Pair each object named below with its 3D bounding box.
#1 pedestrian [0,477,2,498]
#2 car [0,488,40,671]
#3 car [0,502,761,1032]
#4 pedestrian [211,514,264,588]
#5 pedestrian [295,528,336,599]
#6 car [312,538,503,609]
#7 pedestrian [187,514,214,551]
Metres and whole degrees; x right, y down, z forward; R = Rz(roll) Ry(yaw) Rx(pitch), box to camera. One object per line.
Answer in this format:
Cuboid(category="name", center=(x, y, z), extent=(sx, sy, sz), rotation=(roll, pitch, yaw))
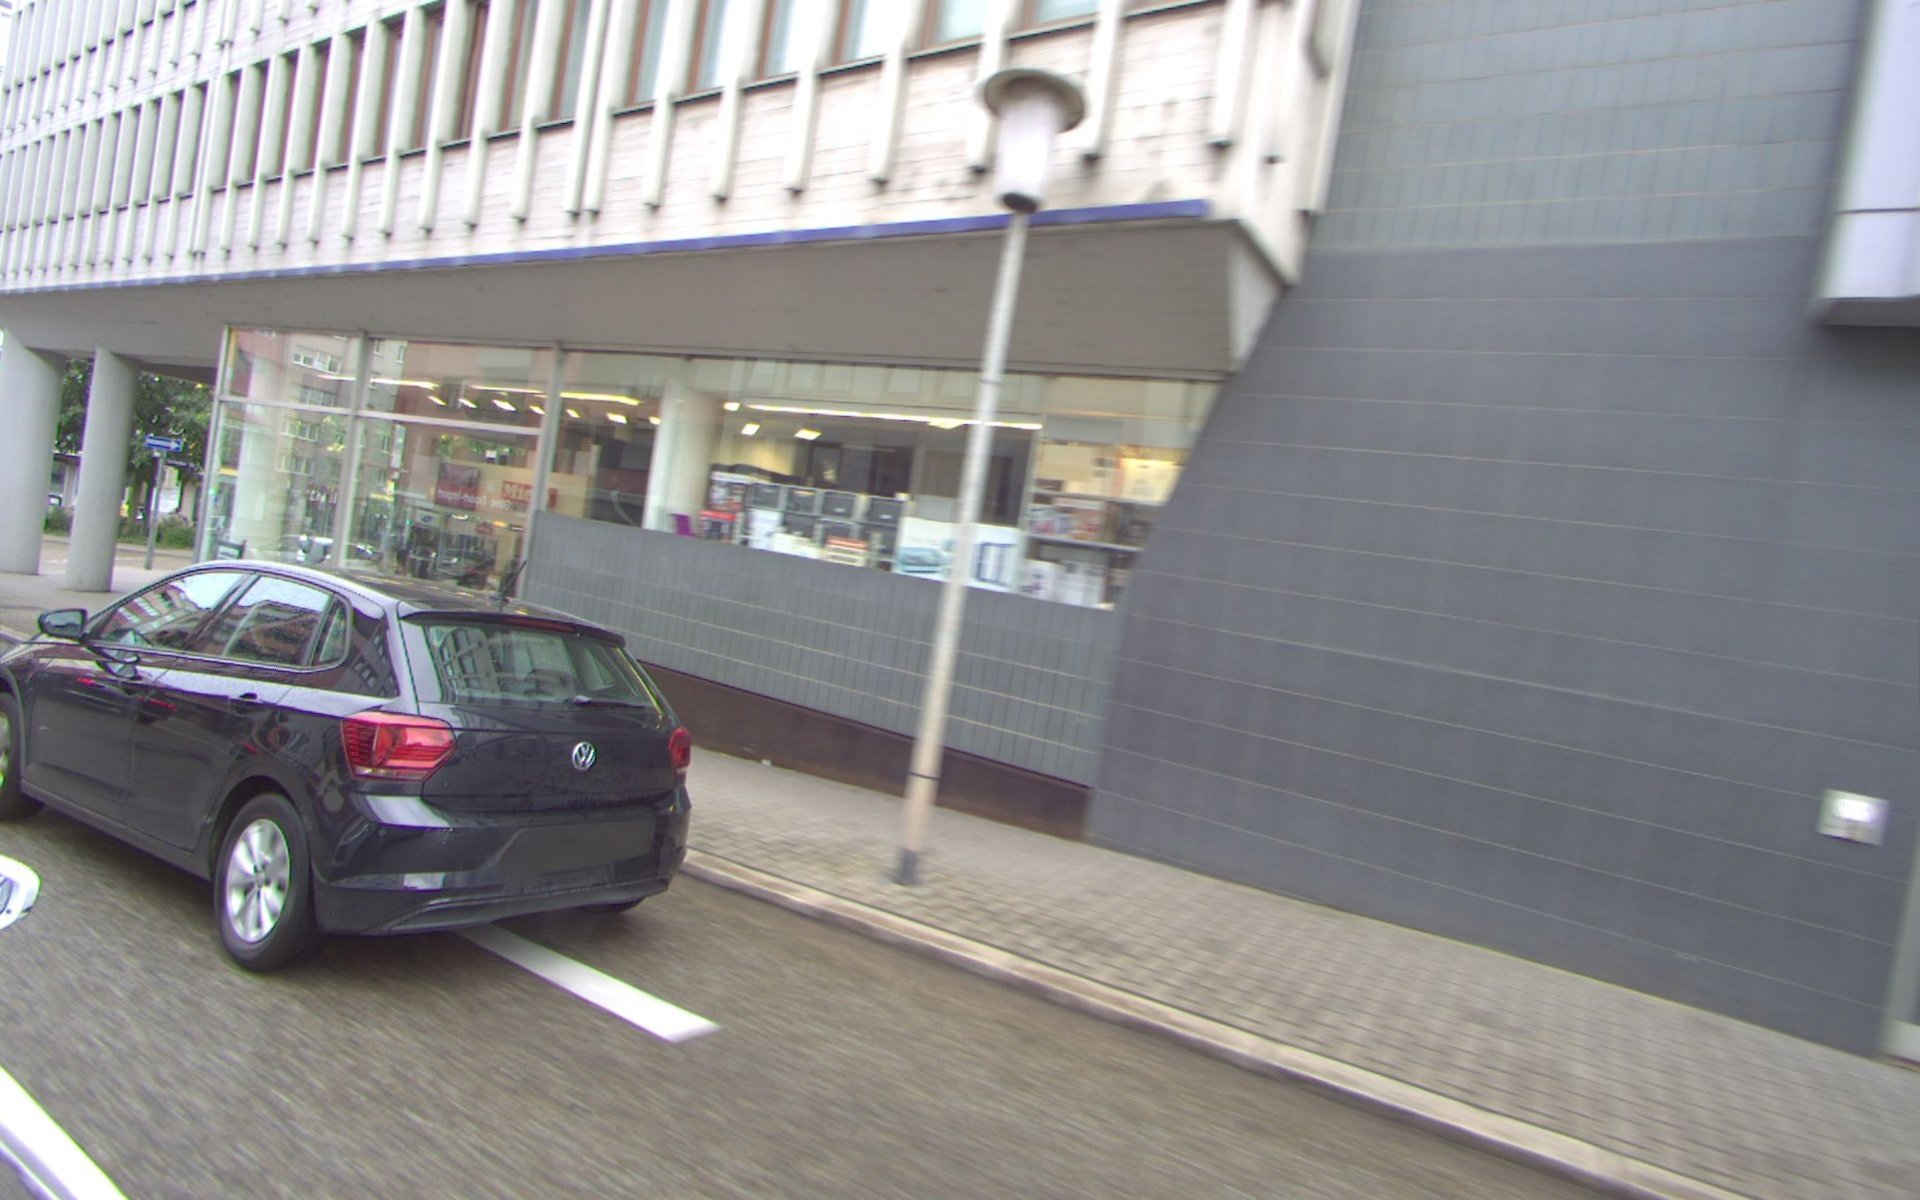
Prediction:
Cuboid(category="pedestrian", center=(-49.073, -5.388, 50.656), extent=(0.818, 1.711, 1.029), rotation=(15, 5, 41))
Cuboid(category="car", center=(-11.345, -0.503, 10.153), extent=(4.434, 1.713, 1.902), rotation=(6, -4, 34))
Cuboid(category="car", center=(-3.113, 0.520, 4.887), extent=(3.933, 1.493, 1.694), rotation=(7, -4, 31))
Cuboid(category="pedestrian", center=(-18.950, -1.279, 26.389), extent=(0.815, 1.841, 0.722), rotation=(6, 1, 26))
Cuboid(category="pedestrian", center=(-16.266, -0.928, 25.382), extent=(0.717, 1.711, 0.822), rotation=(4, 2, -36))
Cuboid(category="car", center=(-17.062, -0.789, 31.326), extent=(4.779, 1.512, 1.851), rotation=(8, -1, -17))
Cuboid(category="pedestrian", center=(-40.611, -3.601, 53.818), extent=(0.818, 1.847, 0.884), rotation=(10, -1, -30))
